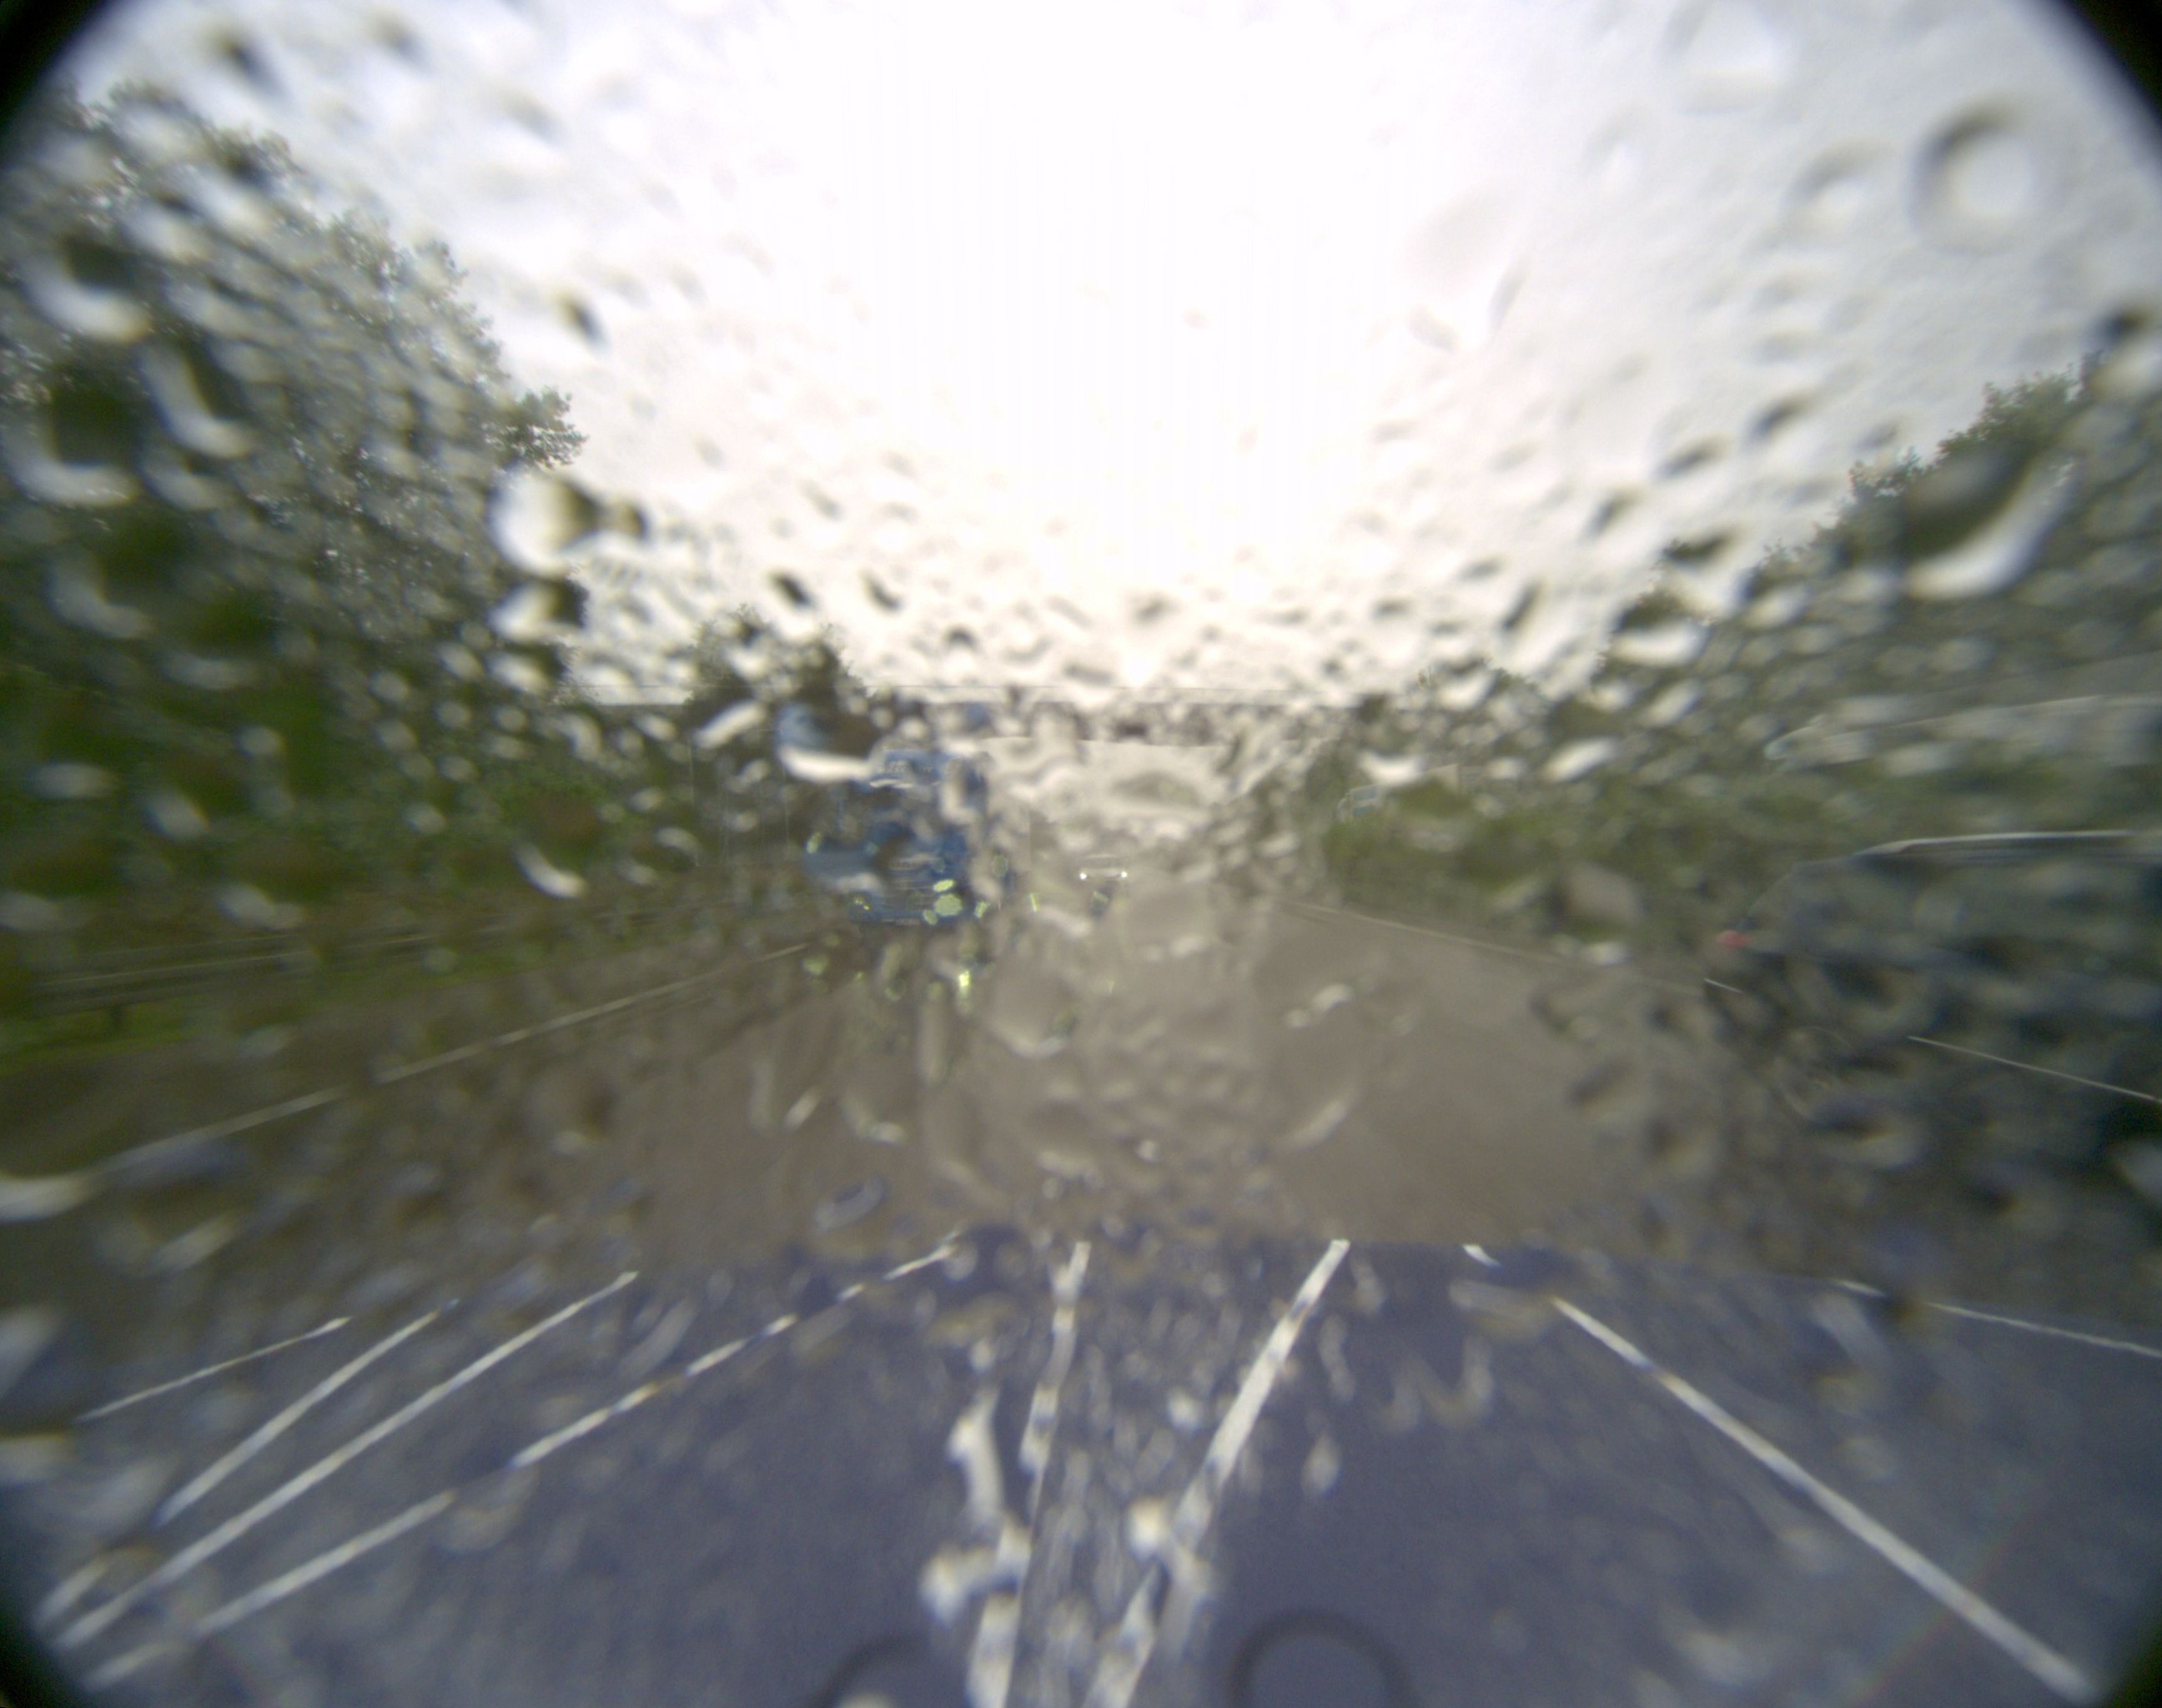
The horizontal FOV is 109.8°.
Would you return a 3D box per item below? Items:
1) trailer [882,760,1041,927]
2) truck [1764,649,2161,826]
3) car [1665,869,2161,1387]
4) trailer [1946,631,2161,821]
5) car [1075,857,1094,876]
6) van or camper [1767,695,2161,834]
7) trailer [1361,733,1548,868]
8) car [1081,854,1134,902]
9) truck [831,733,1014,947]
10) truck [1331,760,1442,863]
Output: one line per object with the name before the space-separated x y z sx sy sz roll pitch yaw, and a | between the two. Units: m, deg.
trailer | -3.268 -0.337 25.439 2.751 3.941 14.127 -2 1 1
truck | 21.724 -2.479 18.742 3.344 3.251 7.173 -2 0 1
car | 4.362 0.891 1.781 2.059 1.477 5.157 -2 1 1
trailer | 21.611 -2.458 11.731 3.436 3.364 11.546 -2 0 1
car | 0.351 1.245 77.933 1.850 1.703 3.999 -2 1 1
van or camper | 16.982 -1.484 14.780 1.990 2.002 5.895 -2 0 1
trailer | 17.602 -2.279 37.234 3.436 5.426 11.545 -2 1 1
car | 0.926 0.832 28.613 1.752 1.546 4.089 -2 1 0
truck | -3.339 -0.295 17.896 2.755 4.055 6.482 -2 1 1
truck | 17.676 -2.292 44.666 3.441 5.427 7.714 -2 0 1
